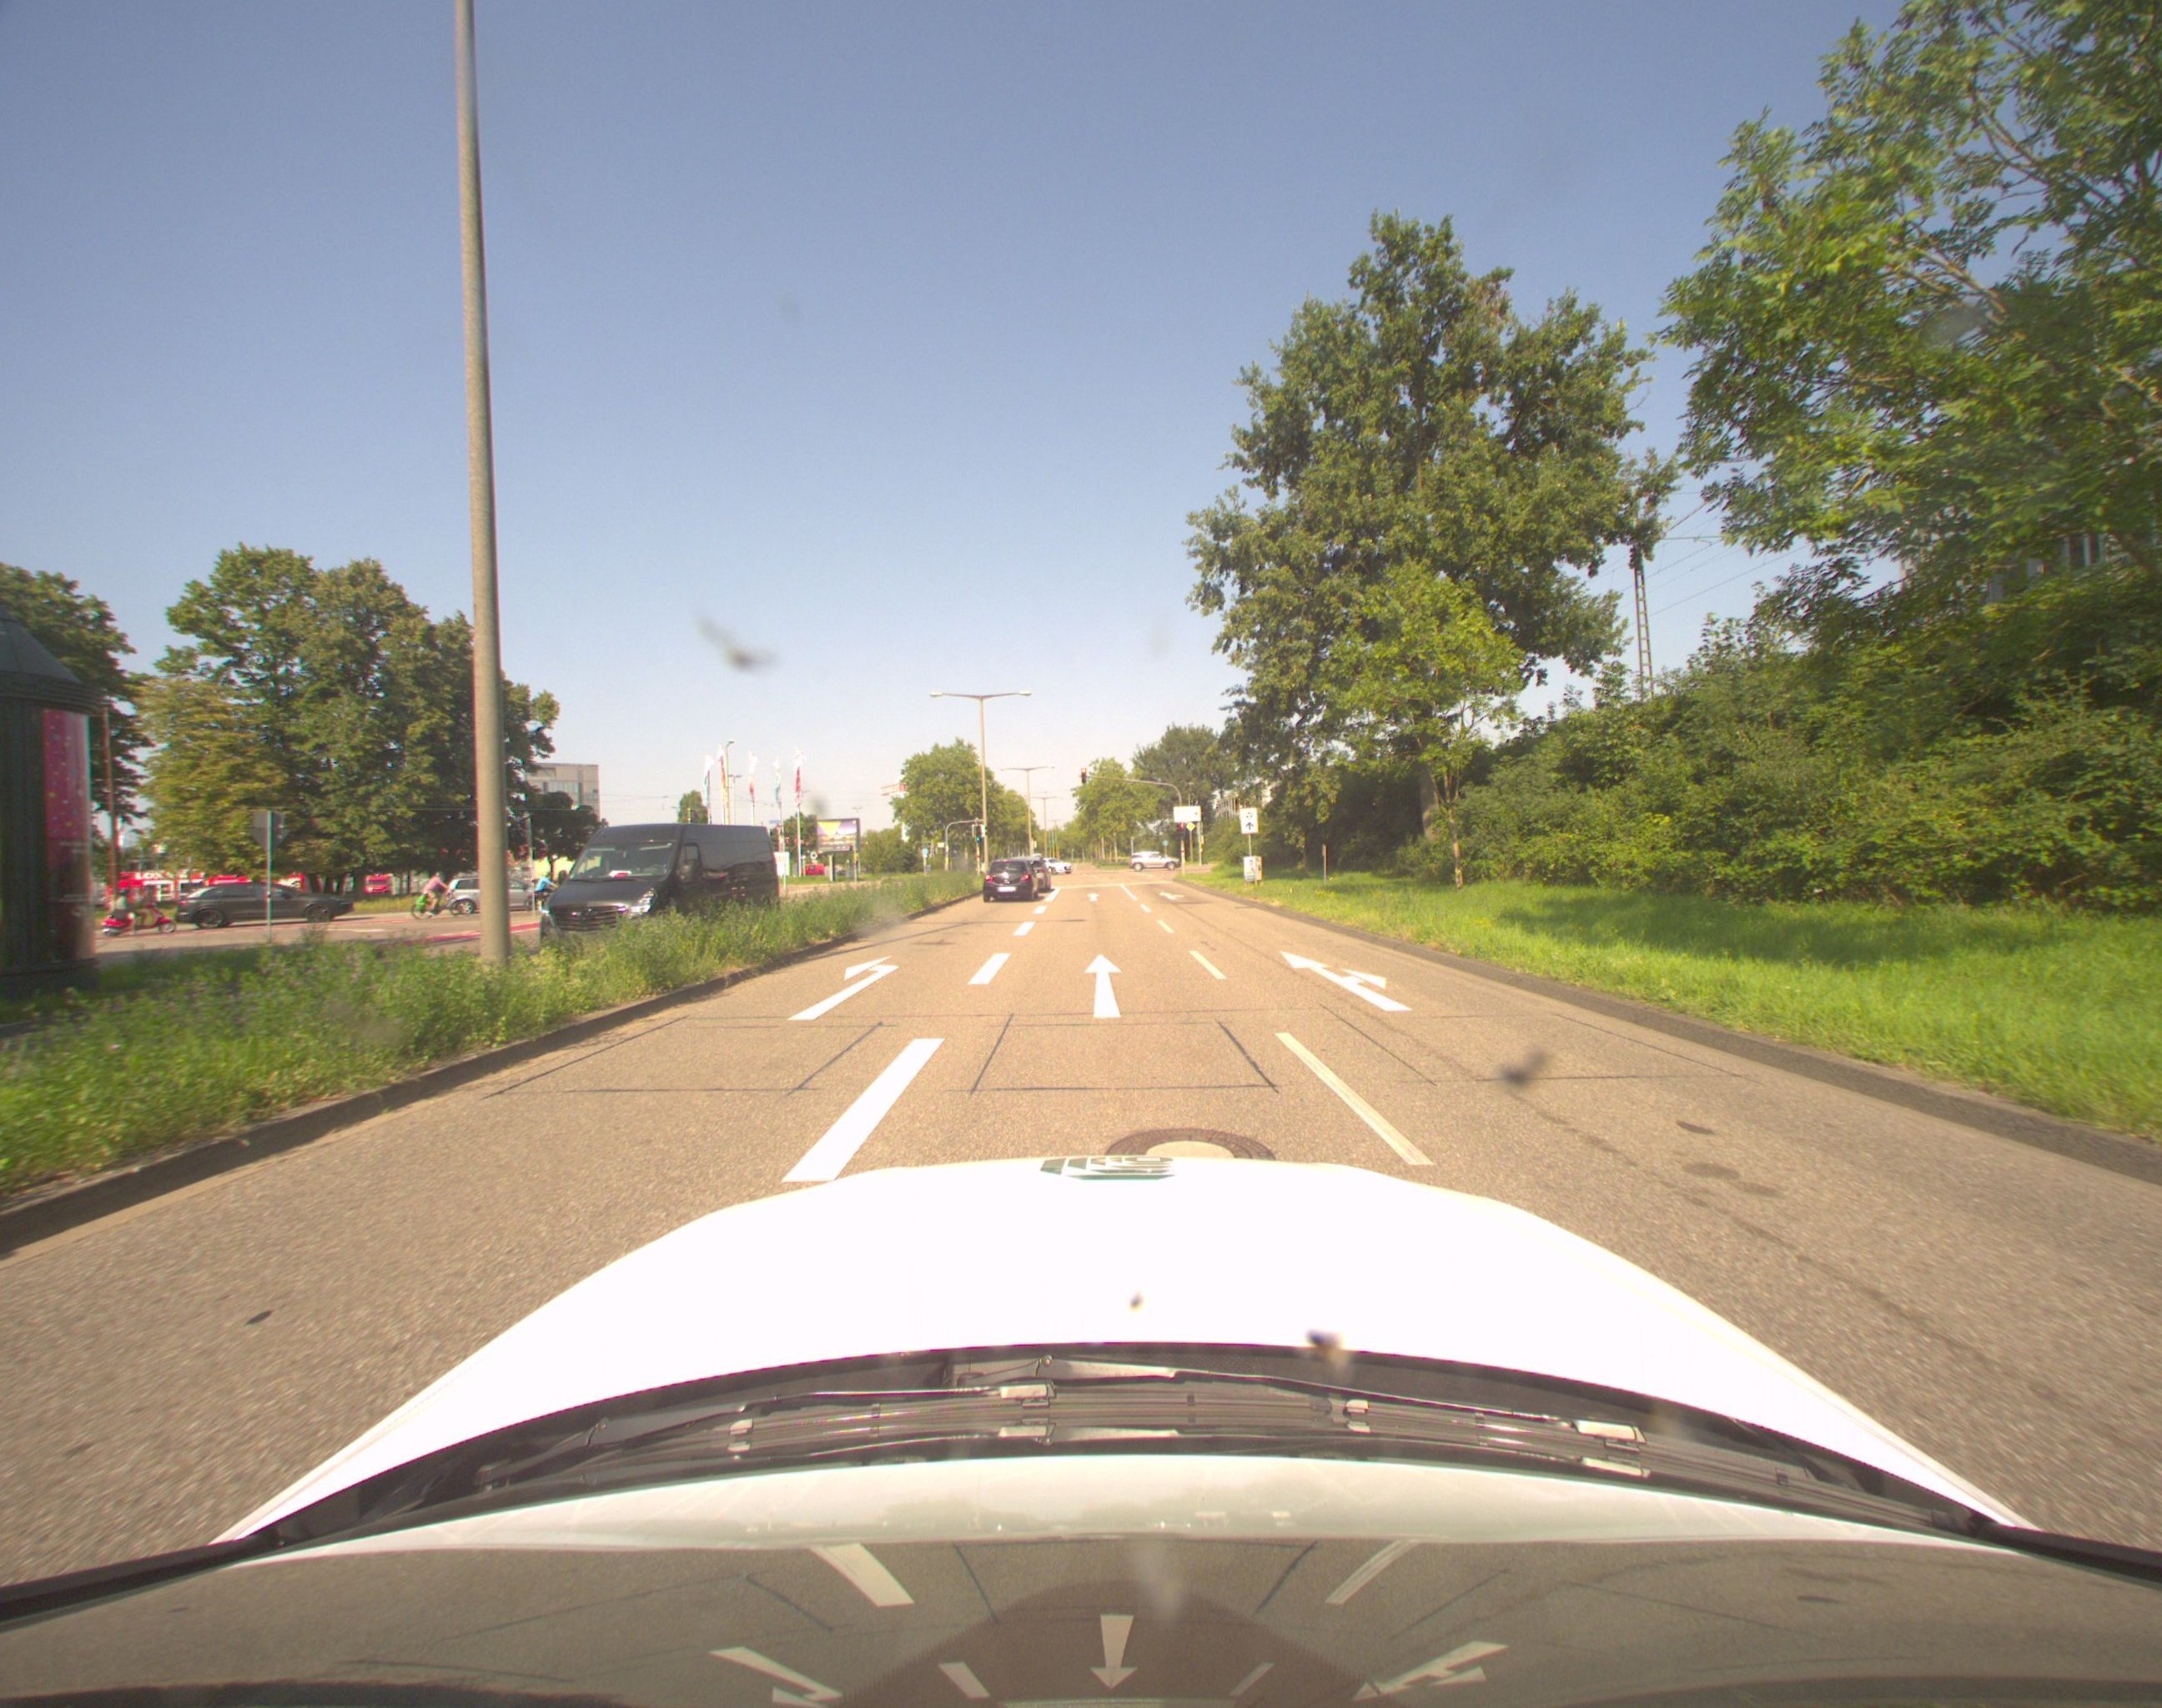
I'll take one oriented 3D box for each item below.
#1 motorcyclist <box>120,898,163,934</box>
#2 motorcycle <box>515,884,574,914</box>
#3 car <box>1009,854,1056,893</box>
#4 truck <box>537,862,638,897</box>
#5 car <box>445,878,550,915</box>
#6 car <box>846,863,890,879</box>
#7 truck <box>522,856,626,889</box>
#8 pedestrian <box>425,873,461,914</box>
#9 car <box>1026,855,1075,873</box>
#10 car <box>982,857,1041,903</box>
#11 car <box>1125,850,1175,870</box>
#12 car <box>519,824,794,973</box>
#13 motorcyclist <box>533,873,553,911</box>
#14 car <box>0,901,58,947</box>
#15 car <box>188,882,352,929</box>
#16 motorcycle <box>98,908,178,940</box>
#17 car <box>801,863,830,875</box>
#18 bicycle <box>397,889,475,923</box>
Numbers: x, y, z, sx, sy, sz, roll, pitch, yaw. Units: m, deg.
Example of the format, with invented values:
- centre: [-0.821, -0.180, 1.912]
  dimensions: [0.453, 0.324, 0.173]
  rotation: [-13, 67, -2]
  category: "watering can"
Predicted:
- centre: [-33.127, 2.185, 28.719]
  dimensions: [0.834, 1.178, 0.684]
  rotation: [-1, -1, -35]
  category: "motorcyclist"
- centre: [-22.801, 1.900, 34.635]
  dimensions: [2.085, 1.136, 0.670]
  rotation: [-1, -1, -35]
  category: "motorcycle"
- centre: [-2.016, 0.804, 34.835]
  dimensions: [1.686, 1.486, 4.000]
  rotation: [-3, 0, 0]
  category: "car"
- centre: [-36.018, 1.840, 59.578]
  dimensions: [5.966, 2.329, 2.104]
  rotation: [-2, -1, -3]
  category: "truck"
- centre: [-25.798, 1.838, 36.097]
  dimensions: [3.719, 1.443, 1.451]
  rotation: [-1, -1, -36]
  category: "car"
- centre: [-18.903, 1.497, 72.280]
  dimensions: [3.355, 1.137, 1.497]
  rotation: [-3, 0, 8]
  category: "car"
- centre: [-53.510, 1.923, 86.141]
  dimensions: [9.054, 2.958, 3.476]
  rotation: [-3, 0, -36]
  category: "truck"
- centre: [-25.508, 1.548, 32.580]
  dimensions: [1.063, 1.575, 0.859]
  rotation: [-1, -1, -36]
  category: "pedestrian"
- centre: [-2.672, 0.867, 70.512]
  dimensions: [1.706, 1.486, 4.568]
  rotation: [-1, 0, -41]
  category: "car"
- centre: [-2.396, 0.862, 28.770]
  dimensions: [1.686, 1.486, 4.000]
  rotation: [-1, 0, 0]
  category: "car"
- centre: [5.673, 0.491, 66.626]
  dimensions: [3.945, 1.486, 1.628]
  rotation: [-1, 0, 7]
  category: "car"
- centre: [-7.902, 0.740, 16.182]
  dimensions: [2.105, 2.333, 6.281]
  rotation: [-2, -1, 0]
  category: "car"
- centre: [-22.858, 1.603, 34.604]
  dimensions: [0.687, 1.572, 0.676]
  rotation: [-1, -1, -36]
  category: "motorcyclist"
- centre: [-37.771, 2.450, 26.837]
  dimensions: [4.768, 1.443, 1.555]
  rotation: [-2, 0, -36]
  category: "car"
- centre: [-31.555, 1.966, 31.880]
  dimensions: [4.331, 1.579, 1.554]
  rotation: [-1, -1, -37]
  category: "car"
- centre: [-33.169, 2.452, 28.679]
  dimensions: [1.728, 0.945, 0.704]
  rotation: [-1, -1, -35]
  category: "motorcycle"
- centre: [-44.743, 2.513, 137.200]
  dimensions: [4.306, 2.014, 1.979]
  rotation: [-1, -1, -33]
  category: "car"
- centre: [-25.637, 2.050, 32.448]
  dimensions: [2.371, 1.235, 0.864]
  rotation: [-1, -1, -36]
  category: "bicycle"
